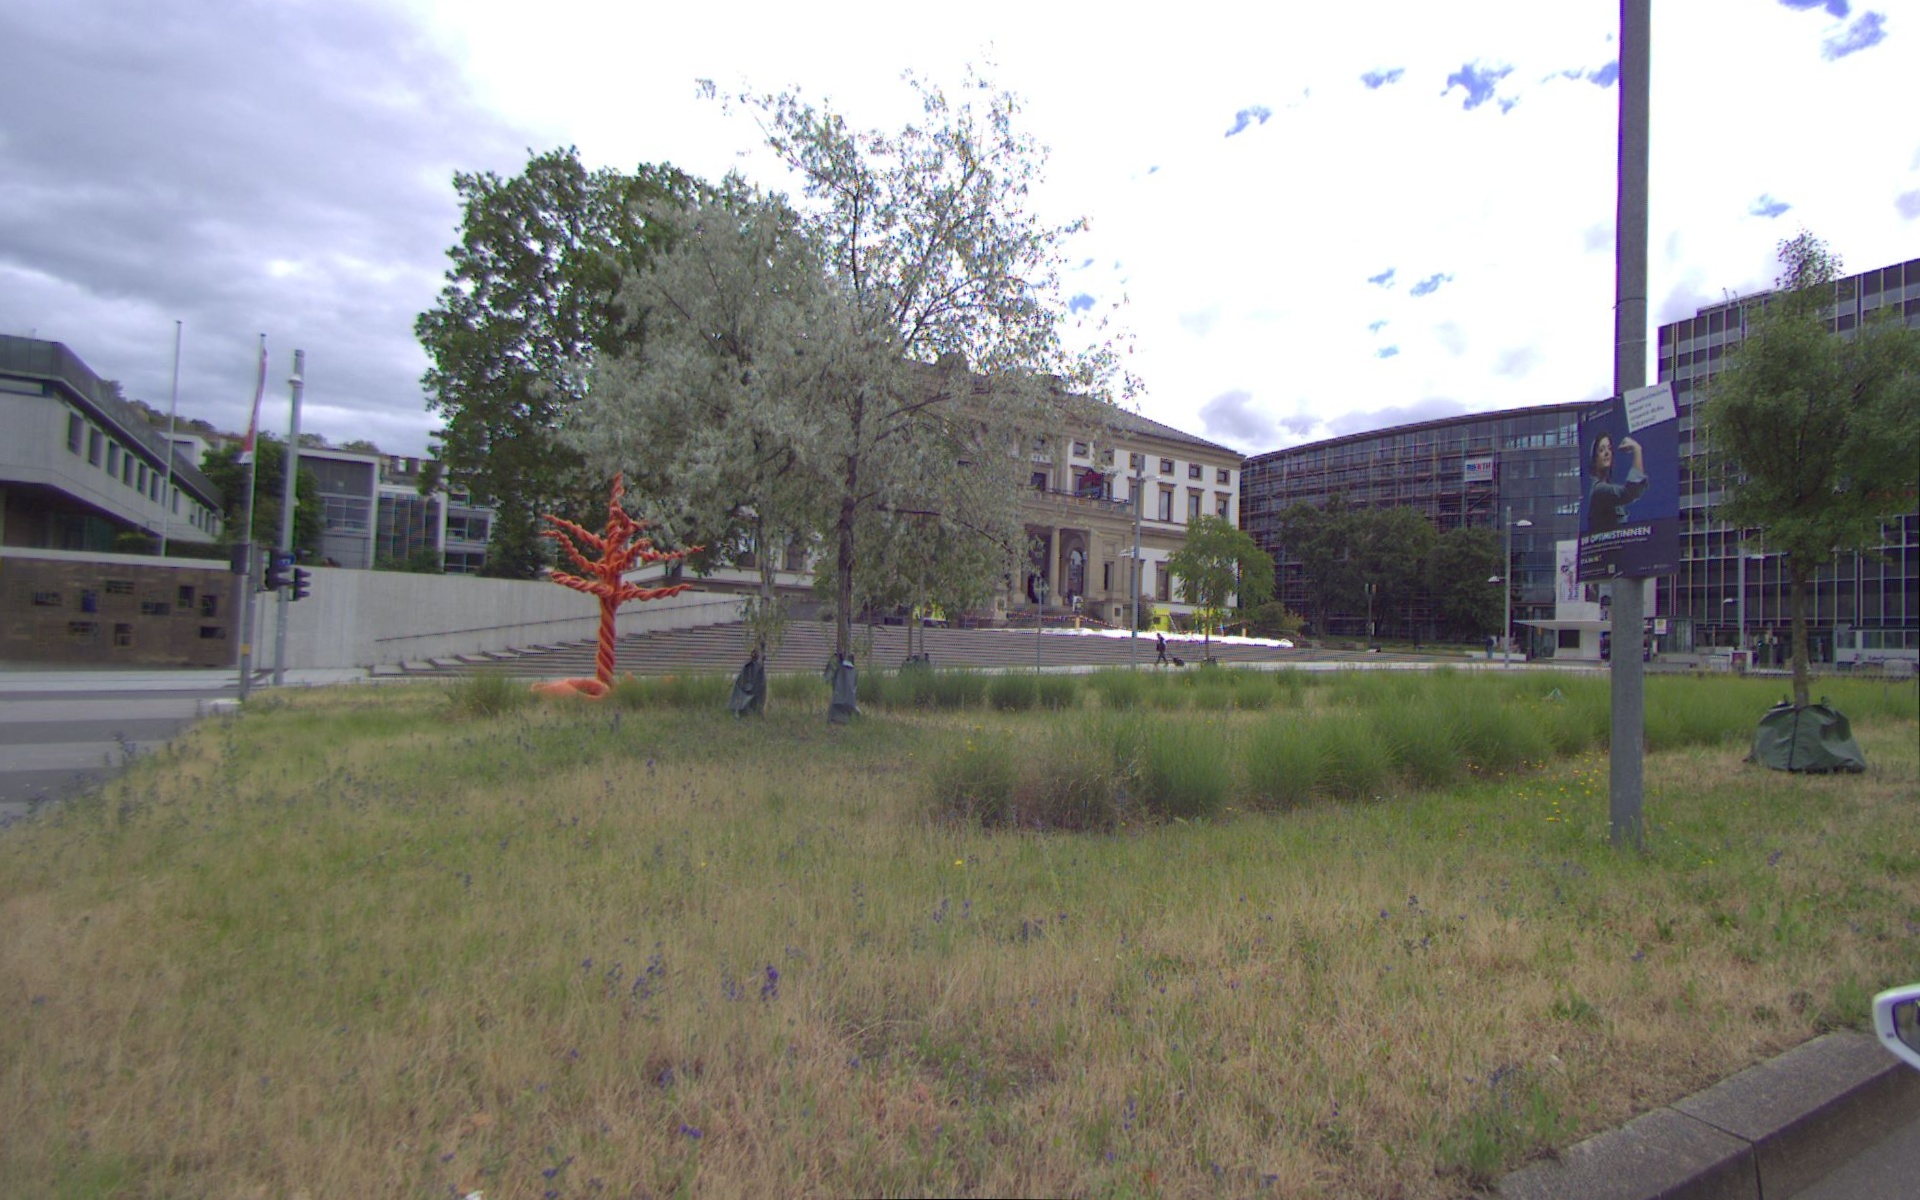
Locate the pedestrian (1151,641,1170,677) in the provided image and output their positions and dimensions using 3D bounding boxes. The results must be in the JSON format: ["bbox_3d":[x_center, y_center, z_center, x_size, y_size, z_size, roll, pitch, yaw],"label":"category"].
[{"bbox_3d":[9.504,2.789,47.586,0.643,1.671,0.521,3,-1,-32],"label":"pedestrian"}]

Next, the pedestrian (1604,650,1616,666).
[{"bbox_3d":[44.676,3.995,69.055,0.553,1.095,0.472,3,-1,-29],"label":"pedestrian"}]
